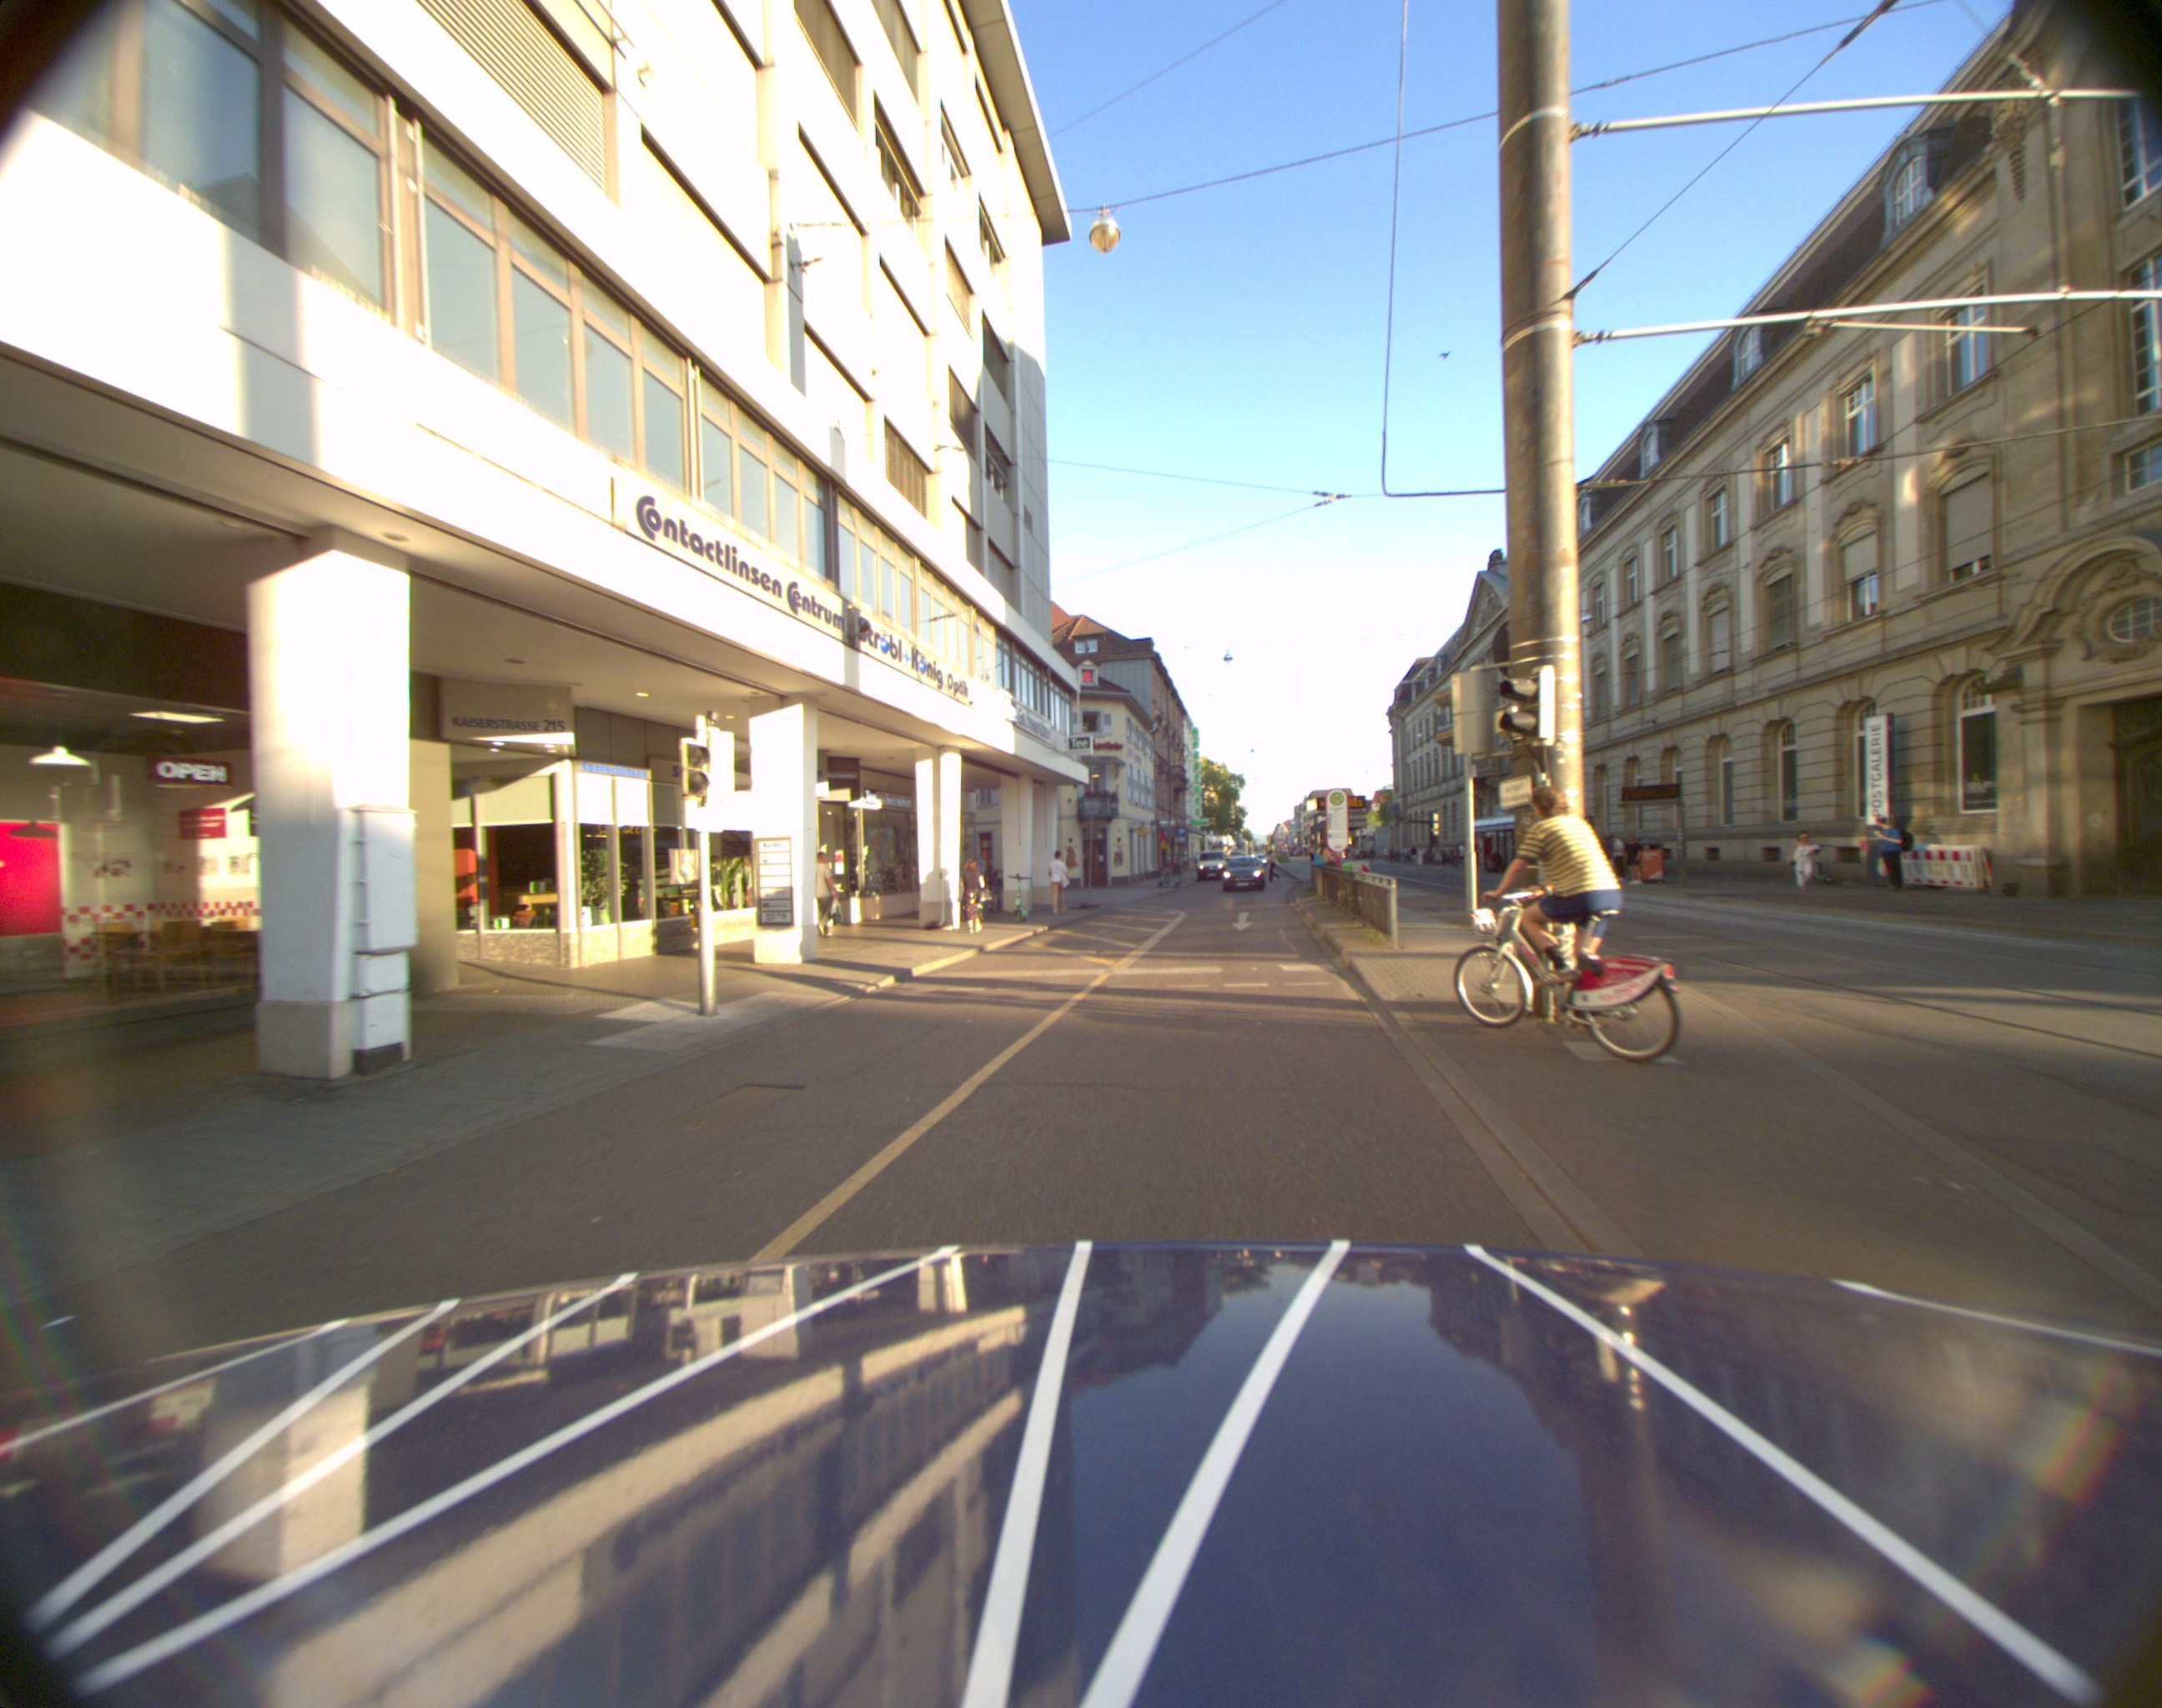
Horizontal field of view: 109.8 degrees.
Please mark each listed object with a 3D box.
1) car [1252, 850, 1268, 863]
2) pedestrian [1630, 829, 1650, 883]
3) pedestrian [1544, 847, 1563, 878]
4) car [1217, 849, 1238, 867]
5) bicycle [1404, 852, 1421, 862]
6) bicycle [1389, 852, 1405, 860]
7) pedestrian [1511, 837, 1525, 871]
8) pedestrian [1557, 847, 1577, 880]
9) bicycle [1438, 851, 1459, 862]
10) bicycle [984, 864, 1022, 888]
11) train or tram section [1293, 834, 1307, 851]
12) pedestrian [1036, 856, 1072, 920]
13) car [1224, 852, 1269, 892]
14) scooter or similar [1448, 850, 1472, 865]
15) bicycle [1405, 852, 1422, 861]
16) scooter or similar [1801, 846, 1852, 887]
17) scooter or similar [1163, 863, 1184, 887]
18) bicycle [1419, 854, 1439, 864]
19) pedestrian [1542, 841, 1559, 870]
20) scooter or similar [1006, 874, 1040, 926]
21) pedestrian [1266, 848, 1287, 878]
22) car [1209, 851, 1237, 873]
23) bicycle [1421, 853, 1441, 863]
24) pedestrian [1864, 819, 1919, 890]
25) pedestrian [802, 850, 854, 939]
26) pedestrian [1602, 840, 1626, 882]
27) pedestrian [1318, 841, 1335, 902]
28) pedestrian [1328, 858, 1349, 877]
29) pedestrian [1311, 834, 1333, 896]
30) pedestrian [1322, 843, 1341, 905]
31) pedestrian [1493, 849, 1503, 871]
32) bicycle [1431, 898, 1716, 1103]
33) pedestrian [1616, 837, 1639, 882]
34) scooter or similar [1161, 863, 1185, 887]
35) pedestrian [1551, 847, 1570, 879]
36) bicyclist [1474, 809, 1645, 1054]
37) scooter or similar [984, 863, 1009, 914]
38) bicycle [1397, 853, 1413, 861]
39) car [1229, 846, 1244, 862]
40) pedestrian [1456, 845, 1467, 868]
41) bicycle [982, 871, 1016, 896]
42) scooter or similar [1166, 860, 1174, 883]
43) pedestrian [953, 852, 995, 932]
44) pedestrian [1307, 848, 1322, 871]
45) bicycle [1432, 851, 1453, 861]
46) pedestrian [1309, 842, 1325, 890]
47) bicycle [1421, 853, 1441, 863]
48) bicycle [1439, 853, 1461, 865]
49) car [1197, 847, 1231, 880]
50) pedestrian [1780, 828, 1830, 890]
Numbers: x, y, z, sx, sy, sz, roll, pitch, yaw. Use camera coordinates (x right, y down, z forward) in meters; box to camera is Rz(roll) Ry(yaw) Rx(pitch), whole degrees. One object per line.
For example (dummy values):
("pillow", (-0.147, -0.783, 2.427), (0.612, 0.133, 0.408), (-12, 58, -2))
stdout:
("car", (22.249, 0.271, 94.448), (1.809, 1.474, 4.288), (-4, -1, 13))
("pedestrian", (18.646, 0.064, 25.352), (0.467, 1.766, 0.562), (-2, 0, 33))
("pedestrian", (20.498, 0.361, 32.967), (0.518, 1.320, 0.638), (-2, 1, 17))
("car", (14.011, 0.348, 72.314), (1.735, 1.502, 4.869), (-4, 0, 13))
("bicycle", (34.740, 0.317, 79.611), (1.577, 0.869, 0.451), (-3, 1, 18))
("bicycle", (35.961, 0.246, 86.496), (1.577, 0.869, 0.451), (-3, 1, 18))
("pedestrian", (21.638, -0.015, 37.640), (0.518, 1.641, 0.639), (-1, 1, 35))
("pedestrian", (20.124, 0.382, 31.465), (0.518, 1.320, 0.638), (-2, 1, 17))
("bicycle", (31.492, 0.223, 65.112), (1.577, 0.869, 0.451), (-3, 1, 18))
("bicycle", (-4.068, 1.139, 39.661), (0.770, 1.174, 1.850), (-2, 1, 43))
("train or tram section", (57.291, -3.094, 199.044), (2.899, 3.667, 13.486), (2, 4, 13))
("pedestrian", (-0.775, 0.996, 22.270), (0.700, 1.805, 0.853), (-3, 0, 20))
("car", (7.241, 0.737, 33.161), (1.737, 1.494, 4.004), (-3, 0, 13))
("scooter or similar", (28.933, 0.297, 58.002), (1.549, 1.062, 0.451), (-3, 1, 18))
("bicycle", (35.105, 0.297, 80.264), (1.577, 0.869, 0.451), (-3, 1, 18))
("scooter or similar", (22.237, 0.358, 22.686), (0.487, 1.175, 1.294), (-3, 0, 15))
("scooter or similar", (4.855, 1.071, 39.769), (1.048, 1.227, 0.272), (-1, 1, -19))
("bicycle", (32.553, 0.439, 71.047), (1.577, 0.869, 0.451), (-3, 1, 18))
("pedestrian", (21.702, 0.065, 35.123), (0.518, 1.320, 0.638), (-2, 1, 17))
("scooter or similar", (-1.446, 1.137, 19.168), (0.506, 1.227, 1.181), (-2, 0, 13))
("pedestrian", (10.901, 0.505, 42.314), (0.970, 1.619, 0.692), (-2, 0, 24))
("car", (10.824, 0.611, 57.721), (1.809, 1.474, 4.783), (-4, -1, 13))
("bicycle", (31.983, 0.390, 69.398), (1.577, 0.869, 0.451), (-3, 1, 18))
("pedestrian", (20.750, 0.020, 19.471), (0.621, 1.766, 0.706), (-2, 0, 10))
("pedestrian", (-5.319, 0.844, 15.966), (0.700, 1.805, 0.632), (-3, 0, 27))
("pedestrian", (19.948, 0.252, 28.452), (0.518, 1.560, 0.638), (-2, 1, 17))
("pedestrian", (7.339, 0.507, 22.718), (0.342, 1.785, 0.545), (-3, 1, 11))
("pedestrian", (13.294, 0.683, 39.236), (0.798, 0.933, 0.694), (-2, 0, 36))
("pedestrian", (6.971, 0.316, 21.973), (0.540, 1.757, 0.595), (-3, 1, 18))
("pedestrian", (6.791, 0.538, 20.588), (0.357, 1.632, 0.503), (-3, 1, 11))
("pedestrian", (22.454, 0.317, 40.917), (0.365, 1.193, 0.430), (-3, 1, 19))
("bicycle", (3.380, 0.926, 5.394), (0.630, 1.097, 1.622), (-2, 1, -23))
("pedestrian", (20.634, 0.200, 28.702), (0.518, 1.636, 0.638), (-2, 1, 17))
("scooter or similar", (4.721, 1.073, 39.083), (1.176, 1.227, 0.317), (0, 1, 29))
("pedestrian", (20.393, 0.367, 32.297), (0.518, 1.320, 0.638), (-2, 1, 17))
("bicyclist", (3.361, 0.498, 5.376), (0.611, 1.584, 0.790), (-2, 1, -22))
("scooter or similar", (-2.581, 1.048, 23.288), (0.314, 1.480, 1.316), (-1, 0, 13))
("bicycle", (35.599, 0.348, 83.502), (1.577, 0.869, 0.451), (-3, 1, 18))
("car", (21.929, -0.021, 107.280), (1.855, 2.055, 5.220), (-1, 0, 13))
("pedestrian", (26.898, 0.183, 53.687), (0.573, 1.596, 0.439), (-4, 1, -44))
("bicycle", (-3.470, 1.252, 32.275), (0.770, 1.022, 1.849), (-3, -2, 16))
("scooter or similar", (5.122, 1.000, 43.669), (0.272, 1.227, 1.309), (0, 1, 17))
("pedestrian", (-2.348, 0.823, 16.655), (0.702, 1.683, 0.540), (-3, 1, -26))
("pedestrian", (15.480, 0.361, 50.308), (0.847, 1.492, 0.902), (-2, 0, 13))
("bicycle", (31.741, 0.172, 66.729), (1.577, 0.869, 0.451), (-3, 1, 18))
("pedestrian", (8.801, 0.439, 28.372), (0.412, 1.757, 0.595), (-3, 1, 11))
("bicycle", (32.232, 0.366, 69.993), (1.577, 0.869, 0.451), (-3, 1, 18))
("bicycle", (30.740, 0.402, 63.367), (1.577, 0.869, 0.451), (-3, 1, 18))
("car", (8.926, 0.589, 50.596), (1.880, 1.912, 4.704), (-4, 0, 13))
("pedestrian", (19.616, 0.136, 20.602), (0.700, 1.605, 0.631), (-3, 0, 12))
